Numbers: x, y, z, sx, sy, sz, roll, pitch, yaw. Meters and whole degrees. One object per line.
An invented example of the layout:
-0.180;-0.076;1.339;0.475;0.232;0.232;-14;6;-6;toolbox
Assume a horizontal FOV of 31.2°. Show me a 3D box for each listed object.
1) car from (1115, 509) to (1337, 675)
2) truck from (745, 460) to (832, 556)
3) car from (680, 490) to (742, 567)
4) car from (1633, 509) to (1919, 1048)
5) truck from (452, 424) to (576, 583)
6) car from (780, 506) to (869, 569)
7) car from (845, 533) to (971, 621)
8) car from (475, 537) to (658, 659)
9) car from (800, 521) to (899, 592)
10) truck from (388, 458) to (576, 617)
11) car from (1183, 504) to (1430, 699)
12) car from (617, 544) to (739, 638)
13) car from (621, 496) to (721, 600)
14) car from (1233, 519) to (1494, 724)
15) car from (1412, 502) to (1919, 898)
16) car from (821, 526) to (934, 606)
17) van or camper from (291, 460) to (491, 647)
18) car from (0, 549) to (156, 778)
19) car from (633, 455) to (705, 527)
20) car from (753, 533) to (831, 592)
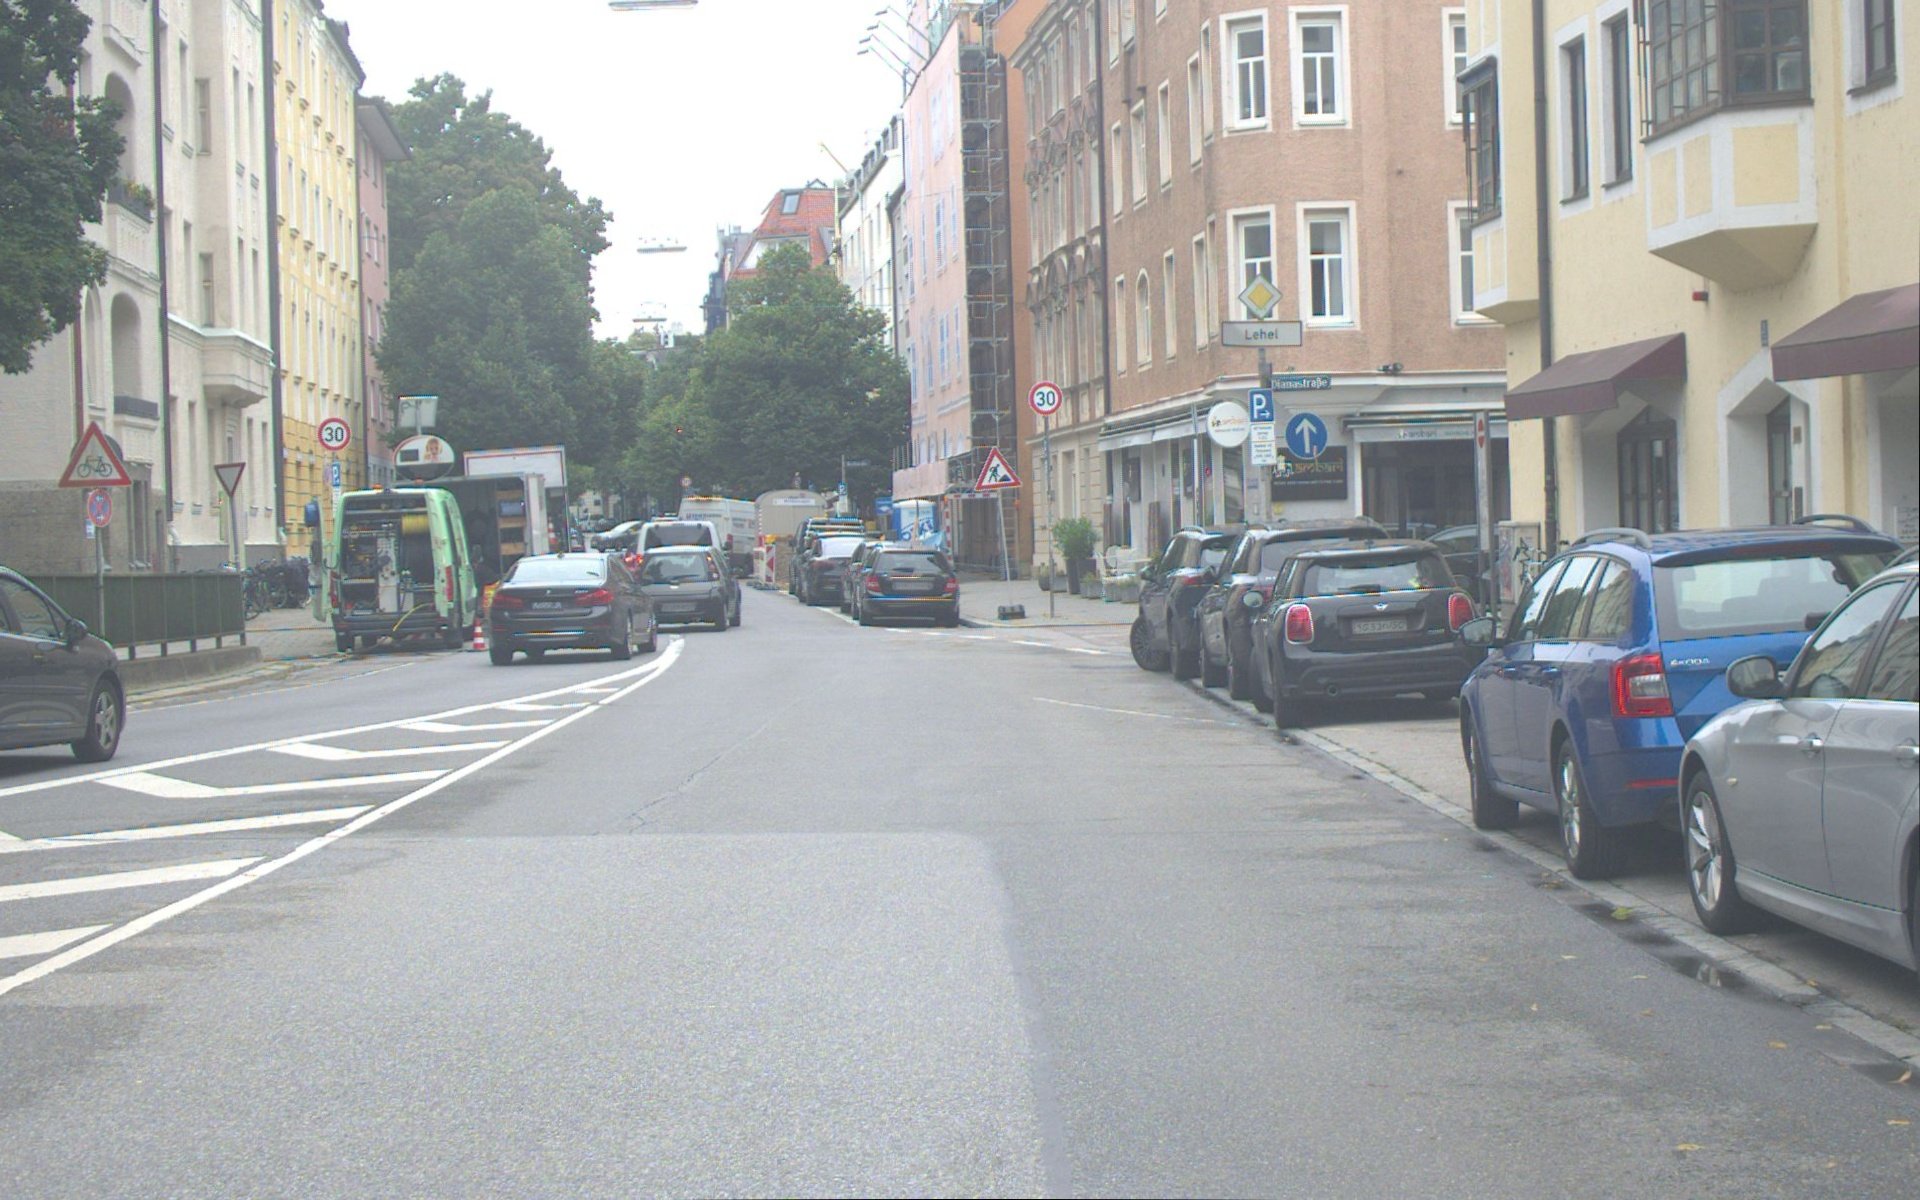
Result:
2.930;-0.133;38.713;1.818;1.673;4.511;-3;1;-3;car
-5.506;-2.931;109.873;2.491;2.963;5.329;-1;1;-5;truck
-8.245;-2.380;114.231;1.939;2.471;4.783;-1;1;-3;car
3.512;0.455;11.087;1.690;1.491;4.434;-3;1;-1;car
-11.561;-2.503;89.609;3.012;3.938;6.997;-1;1;-6;truck
-3.344;-1.548;84.025;1.990;1.424;4.141;-2;2;-4;car
-0.962;-0.437;61.551;1.844;1.424;4.185;1;2;-6;car
-5.306;-0.065;46.890;1.990;1.424;4.906;-2;2;-1;car
-2.479;-0.991;76.134;1.844;1.424;4.308;1;2;-6;car
-9.185;-1.288;66.808;2.773;2.863;7.203;-2;2;-2;truck
3.270;-0.040;33.288;1.756;1.673;4.707;-3;1;-1;car
-4.848;-0.190;59.405;1.990;1.424;4.141;-2;2;-4;car
-6.105;-1.136;72.852;1.990;2.068;4.141;-2;2;-4;car
3.258;0.123;28.388;1.756;1.491;3.823;-3;1;2;car
3.320;0.343;15.856;1.756;1.491;4.488;-3;1;-1;car
-1.659;-0.695;67.707;1.844;1.424;4.141;1;2;-6;car
-9.215;-0.833;56.247;2.600;2.830;6.187;-2;2;-4;van or camper
-7.015;0.428;23.368;1.759;1.456;4.074;-2;1;6;car
-8.566;-3.185;100.925;1.993;2.006;4.001;-2;2;-5;car
-4.602;-1.041;93.809;1.990;1.424;4.141;-2;2;-4;car
